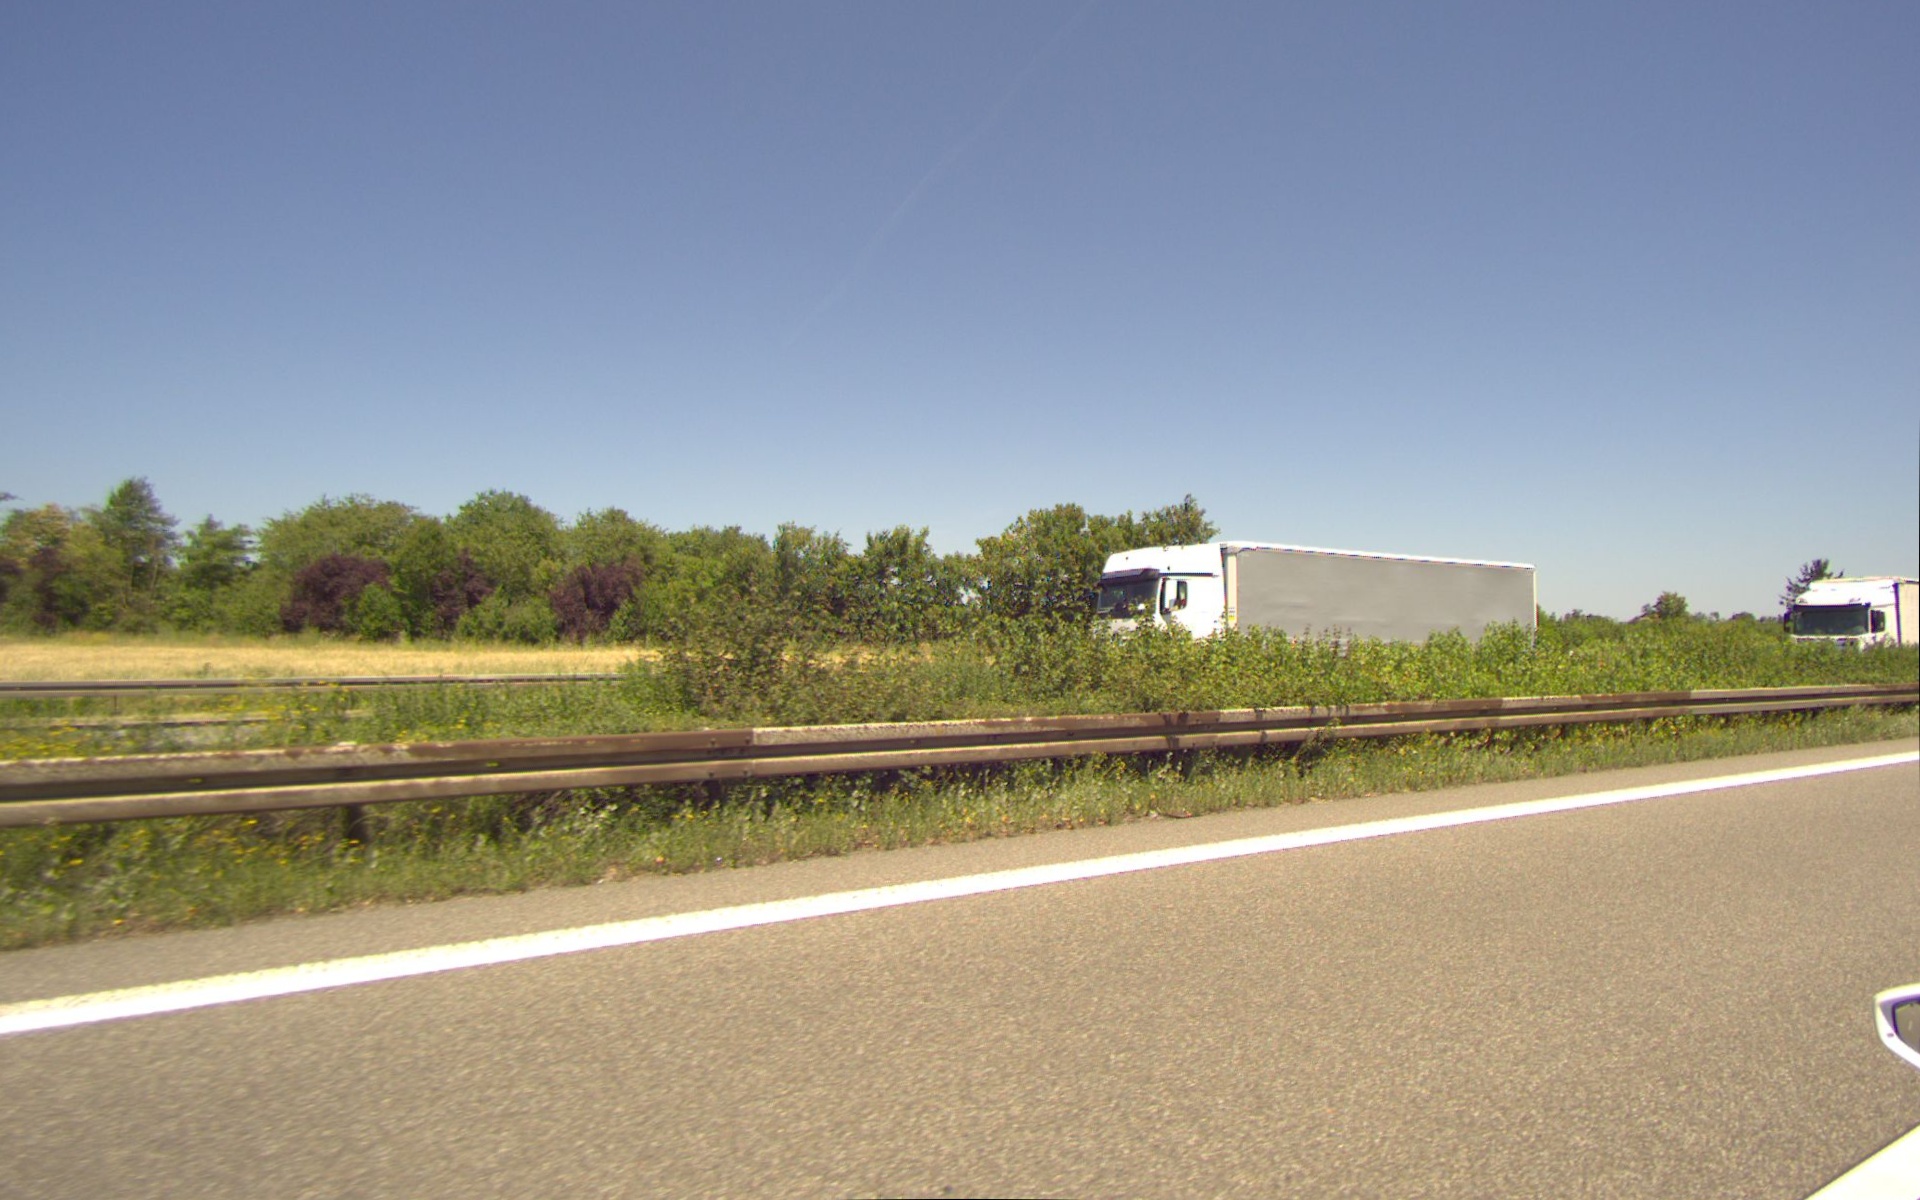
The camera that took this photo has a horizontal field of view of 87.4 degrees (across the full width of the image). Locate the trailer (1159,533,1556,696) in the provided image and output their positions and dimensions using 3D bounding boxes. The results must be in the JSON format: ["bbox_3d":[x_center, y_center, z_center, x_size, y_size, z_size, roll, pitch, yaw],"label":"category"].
[{"bbox_3d":[12.398,0.544,30.186,14.157,4.112,2.940,2,0,-30],"label":"trailer"}]

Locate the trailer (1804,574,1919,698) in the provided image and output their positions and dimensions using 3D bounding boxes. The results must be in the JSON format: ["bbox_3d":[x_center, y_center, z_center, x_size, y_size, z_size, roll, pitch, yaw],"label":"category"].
[{"bbox_3d":[40.011,1.520,41.910,13.704,4.586,2.807,2,0,-30],"label":"trailer"}]

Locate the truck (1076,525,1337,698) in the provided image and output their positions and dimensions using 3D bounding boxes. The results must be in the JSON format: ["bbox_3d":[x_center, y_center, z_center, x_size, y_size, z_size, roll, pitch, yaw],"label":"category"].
[{"bbox_3d":[6.611,0.353,26.780,6.462,4.117,2.937,2,0,-30],"label":"truck"}]

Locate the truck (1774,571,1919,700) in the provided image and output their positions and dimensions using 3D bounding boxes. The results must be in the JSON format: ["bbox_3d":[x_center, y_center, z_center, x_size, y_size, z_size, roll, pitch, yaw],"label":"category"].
[{"bbox_3d":[34.556,1.341,38.698,6.462,4.587,2.808,2,0,-30],"label":"truck"}]
